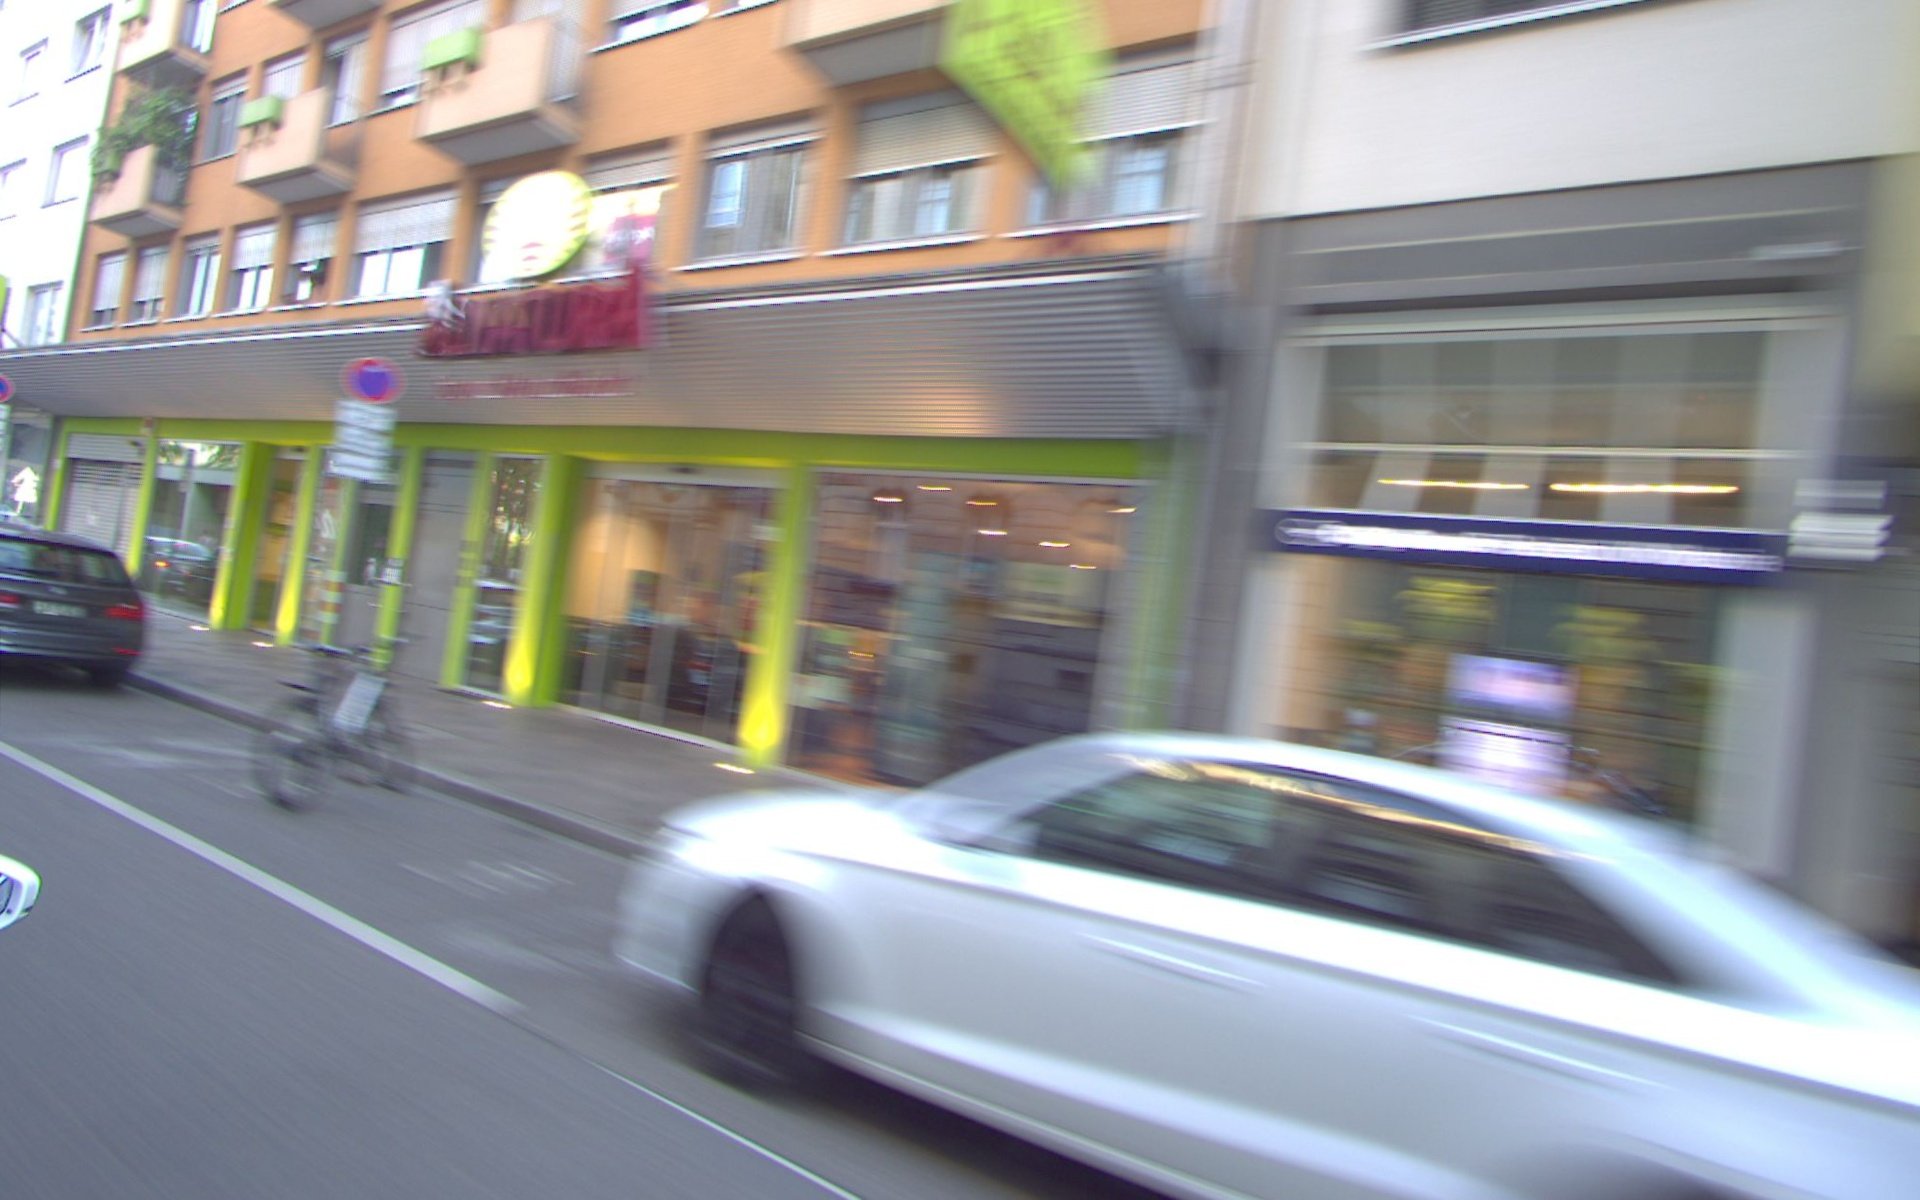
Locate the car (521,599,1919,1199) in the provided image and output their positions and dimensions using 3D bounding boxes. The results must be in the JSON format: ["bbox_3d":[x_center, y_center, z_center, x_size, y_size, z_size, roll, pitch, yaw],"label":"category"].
[{"bbox_3d":[0.829,1.088,3.448,4.559,1.425,1.698,8,-5,29],"label":"car"}]

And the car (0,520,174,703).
[{"bbox_3d":[-9.919,-0.121,9.990,4.678,1.429,1.697,7,-5,32],"label":"car"}]

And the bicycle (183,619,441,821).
[{"bbox_3d":[-4.146,0.729,6.621,0.649,1.066,1.737,9,-4,-9],"label":"bicycle"}]

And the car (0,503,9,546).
[{"bbox_3d":[-14.010,-0.708,12.598,4.678,1.685,1.758,7,-5,32],"label":"car"}]
